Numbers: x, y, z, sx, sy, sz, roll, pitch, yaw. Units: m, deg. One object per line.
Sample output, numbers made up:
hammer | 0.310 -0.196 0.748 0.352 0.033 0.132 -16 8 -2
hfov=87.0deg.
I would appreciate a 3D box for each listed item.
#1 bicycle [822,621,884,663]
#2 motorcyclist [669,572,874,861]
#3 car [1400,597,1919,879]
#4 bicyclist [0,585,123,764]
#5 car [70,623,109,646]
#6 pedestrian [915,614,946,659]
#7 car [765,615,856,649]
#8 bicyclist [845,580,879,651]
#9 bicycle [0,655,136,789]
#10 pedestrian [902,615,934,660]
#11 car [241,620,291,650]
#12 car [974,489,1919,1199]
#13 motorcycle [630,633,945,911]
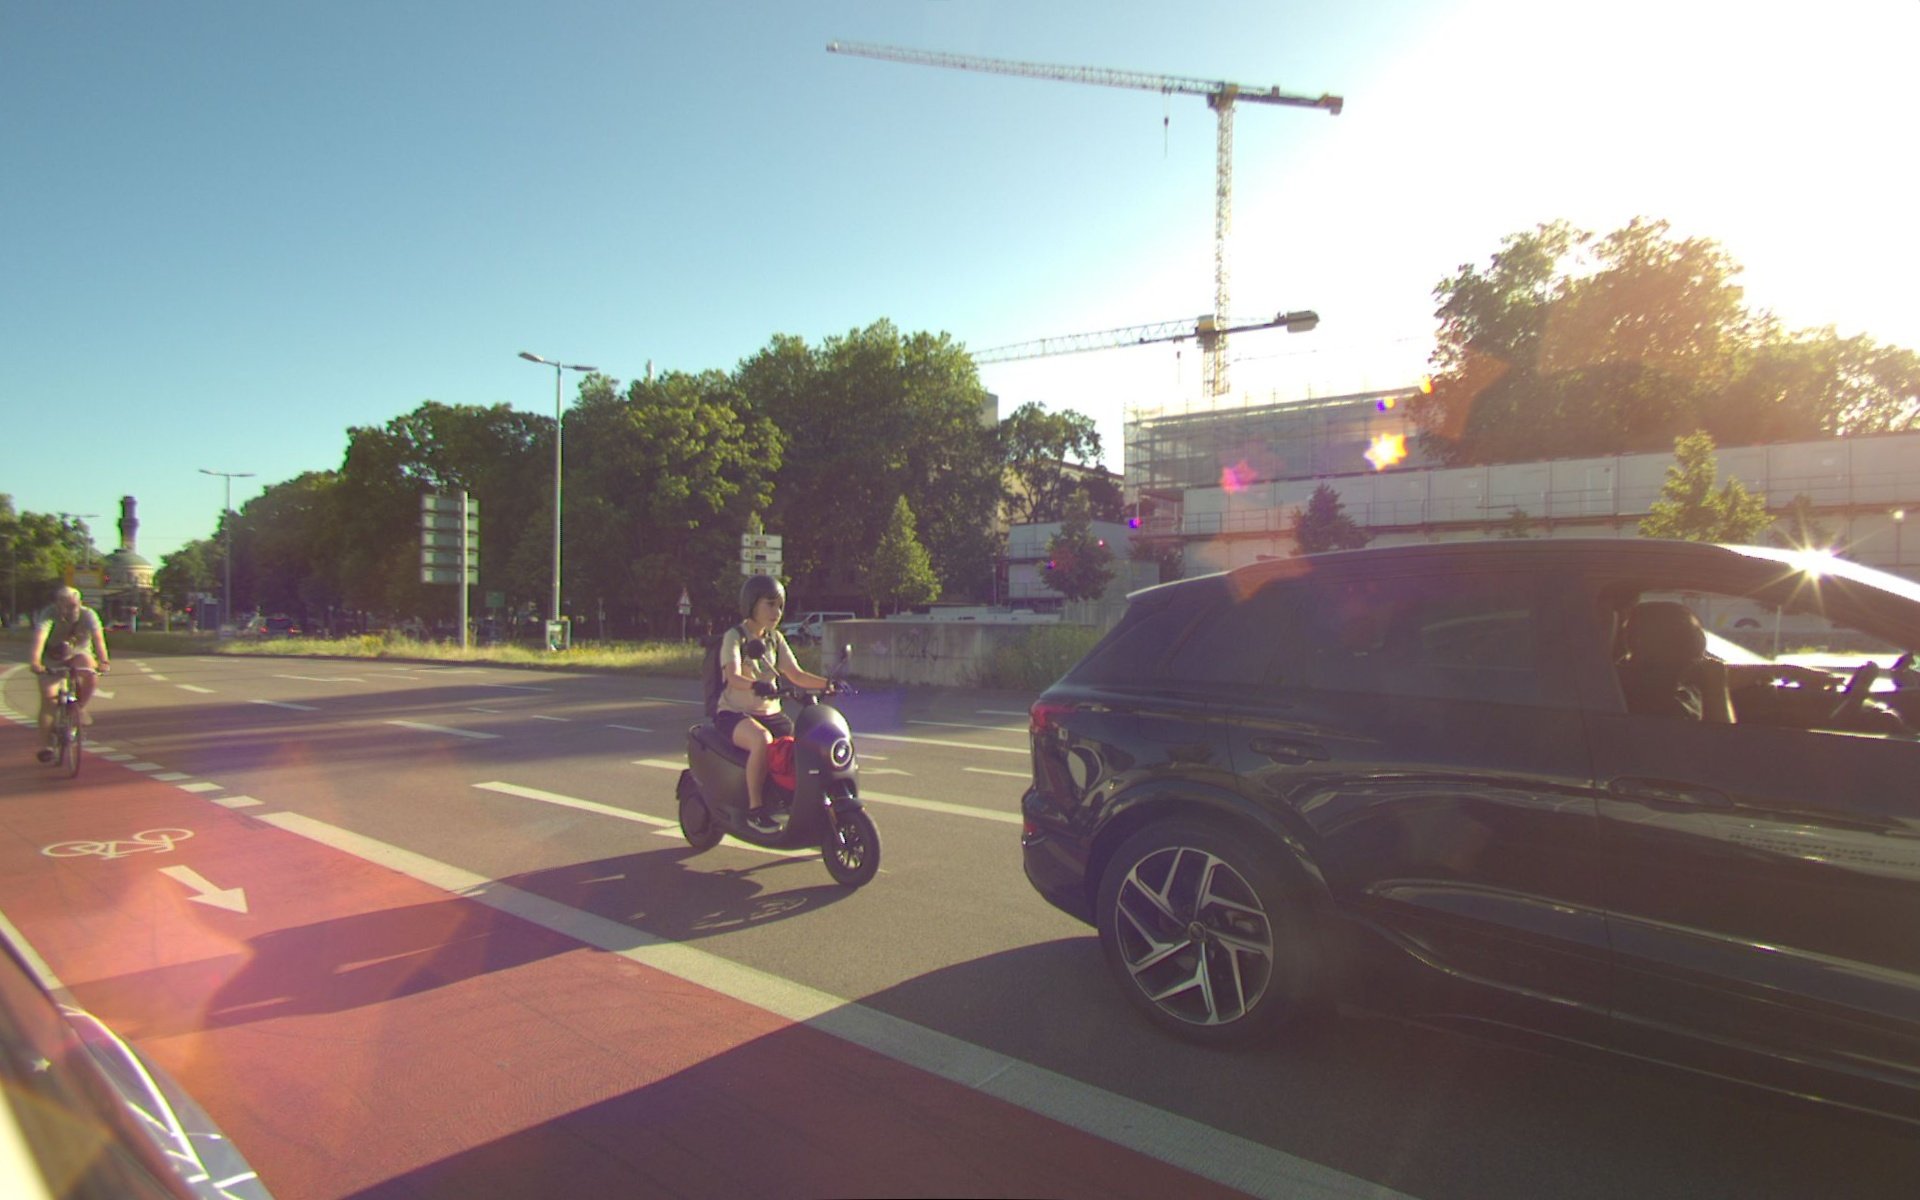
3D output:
bicycle | -4.868 1.894 45.676 3.079 1.824 0.831 -3 -1 40
motorcyclist | -1.080 0.603 5.772 0.917 1.485 0.717 -2 -1 41
car | 4.973 0.761 6.548 3.603 1.497 1.477 -2 -1 41
bicyclist | -8.589 0.675 9.672 0.840 1.618 0.710 -1 -1 36
car | -69.455 2.746 80.717 3.998 1.699 1.826 -1 0 41
pedestrian | -1.390 1.702 47.508 1.135 2.029 0.930 -1 0 35
car | -9.062 1.939 61.847 2.065 1.950 5.443 -1 -2 42
bicyclist | -4.385 0.699 45.281 1.305 3.126 0.831 -1 0 39
bicycle | -8.616 1.110 9.688 1.967 1.118 0.641 -1 -1 36
pedestrian | -1.938 1.716 46.692 1.135 2.029 0.930 -1 0 35
car | -45.634 2.268 66.527 3.998 1.841 1.796 -1 0 41
car | 2.414 0.583 3.028 4.677 1.647 1.753 -1 0 40
motorcycle | -1.034 0.850 5.732 1.883 1.303 0.715 -2 -1 41
